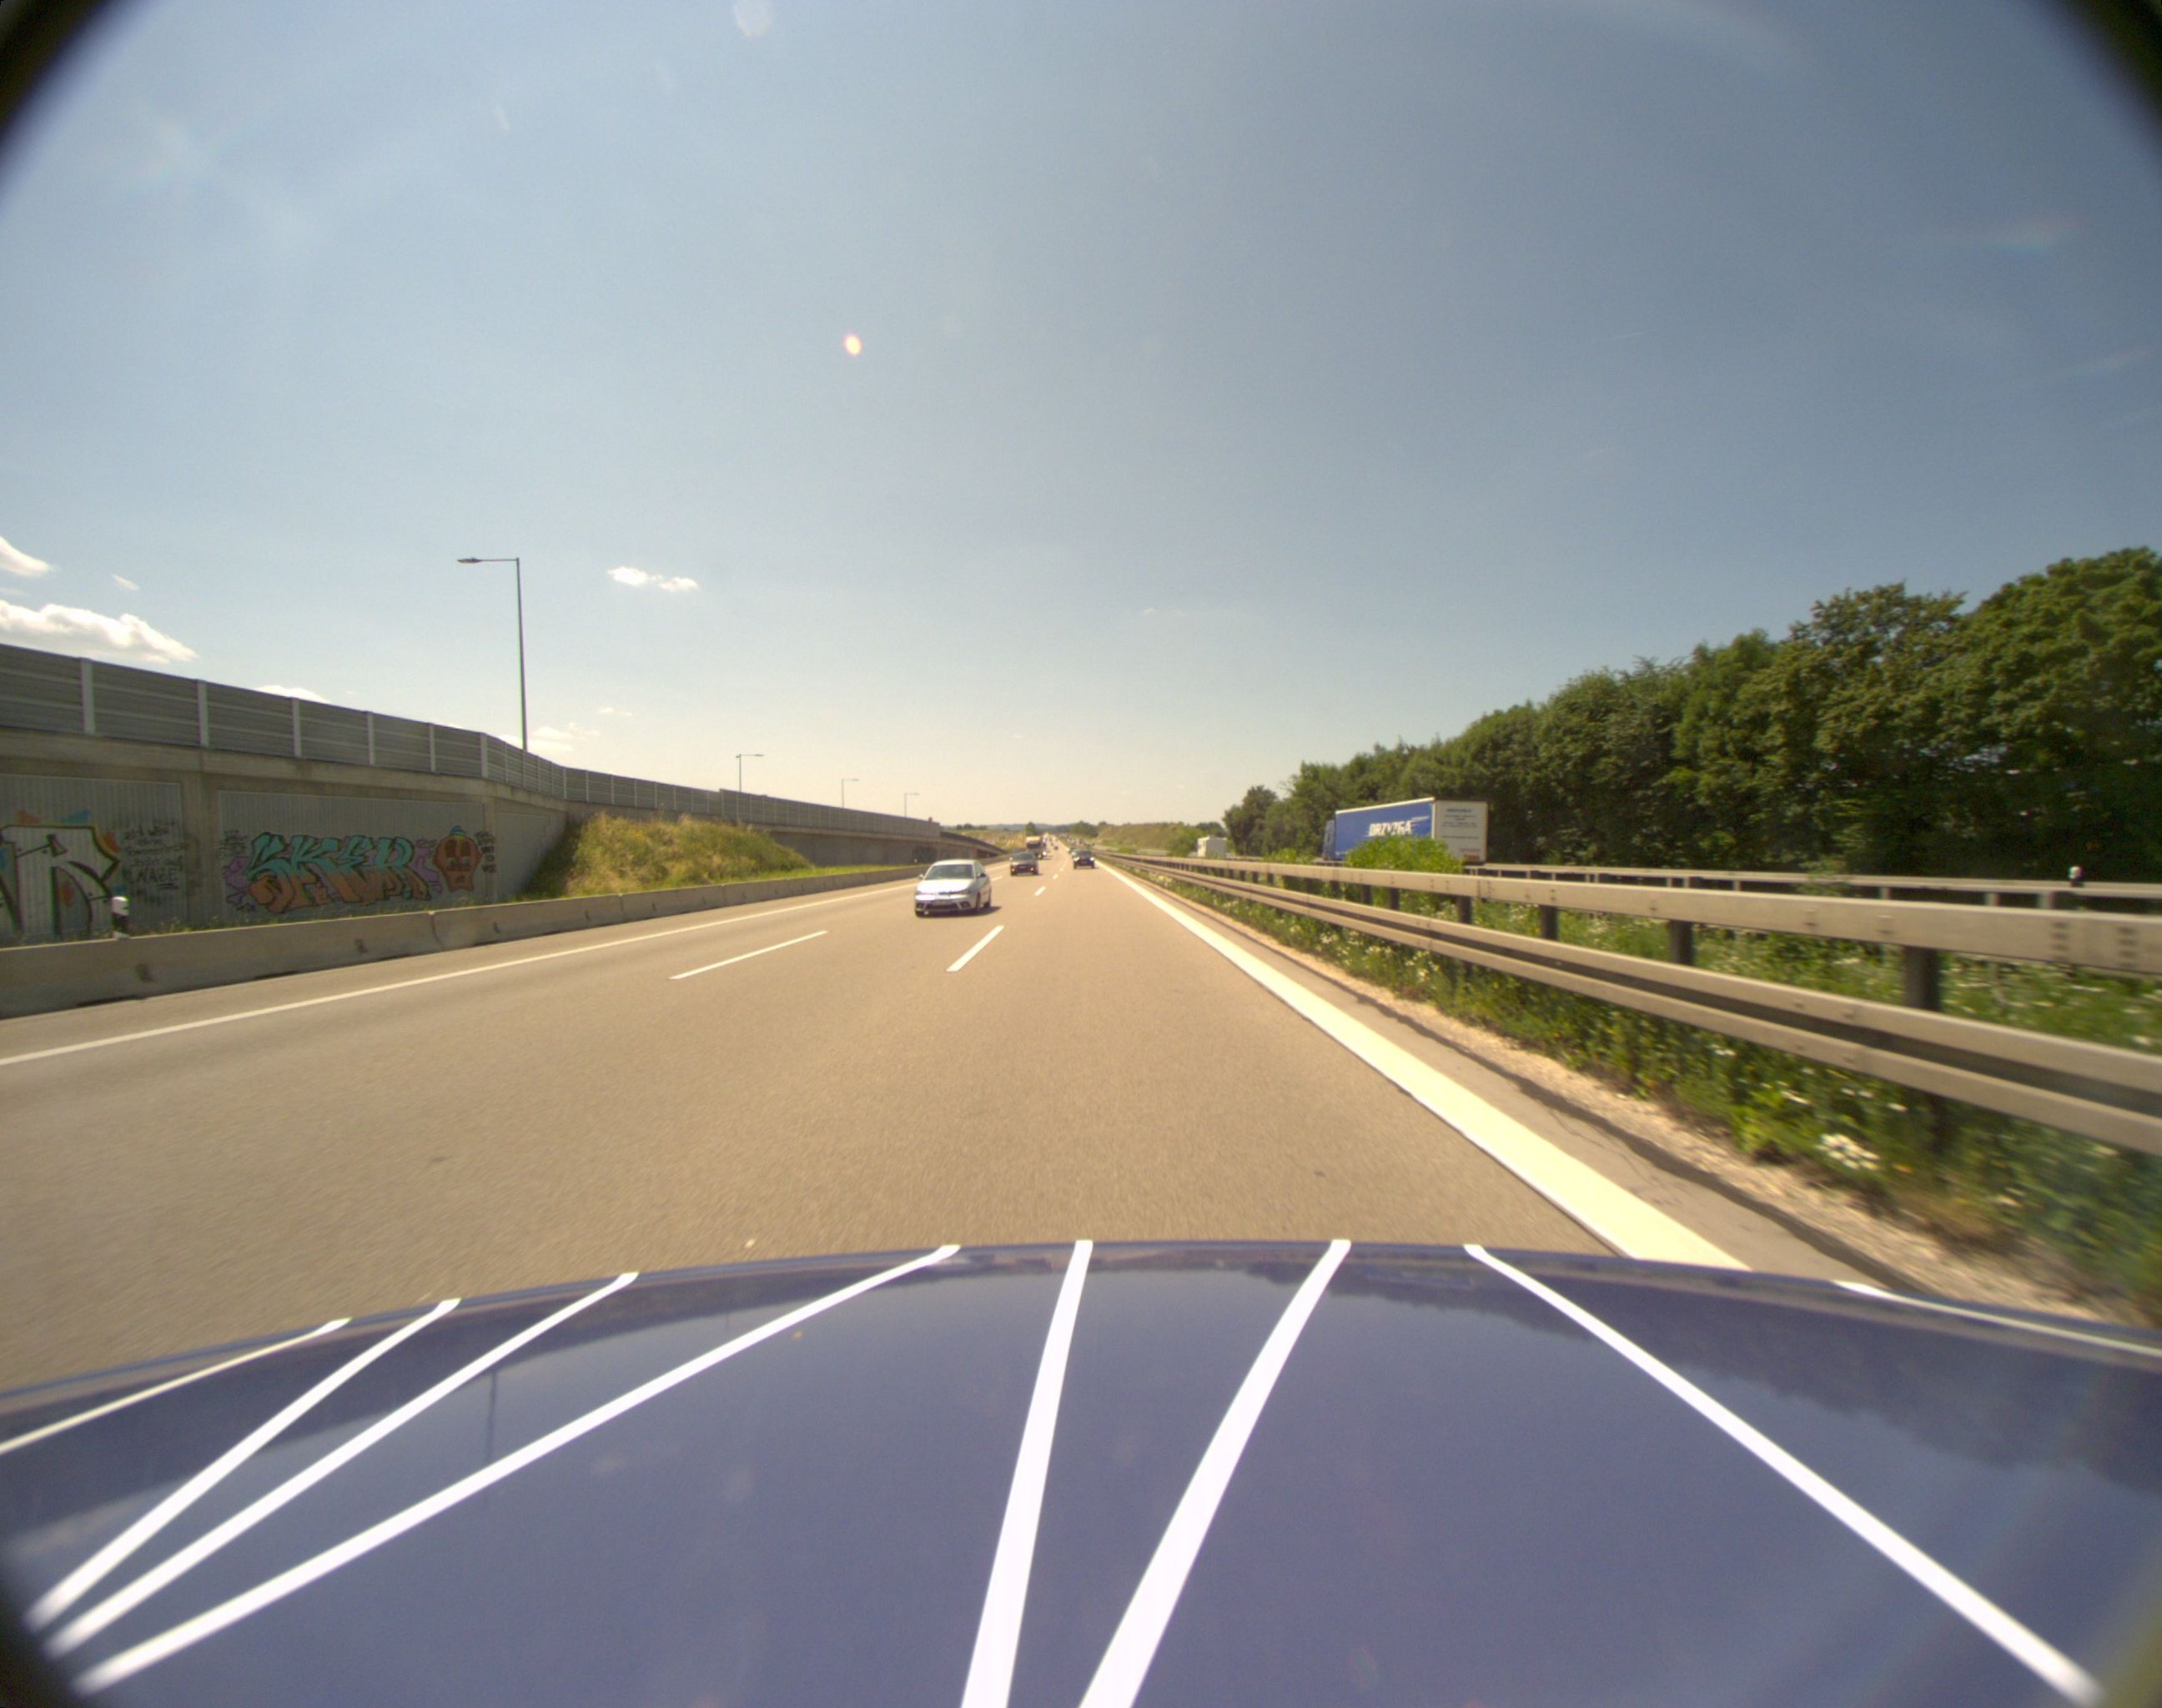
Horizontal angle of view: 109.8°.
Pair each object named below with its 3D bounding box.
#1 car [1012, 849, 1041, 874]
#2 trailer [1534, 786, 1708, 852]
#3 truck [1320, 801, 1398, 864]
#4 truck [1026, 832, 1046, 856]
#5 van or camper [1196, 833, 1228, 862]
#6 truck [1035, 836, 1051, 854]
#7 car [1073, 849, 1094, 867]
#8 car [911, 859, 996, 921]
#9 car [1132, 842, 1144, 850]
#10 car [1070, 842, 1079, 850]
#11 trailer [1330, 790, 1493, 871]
[{"bbox_3d":[-3.815,0.508,53.890,1.751,1.559,3.999,-2,1,0],"label":"car"},{"bbox_3d":[34.703,-2.121,49.884,1.998,3.675,13.181,-2,1,0],"label":"trailer"},{"bbox_3d":[17.867,-1.337,49.202,2.855,3.724,5.692,-2,1,0],"label":"truck"},{"bbox_3d":[-8.016,-1.757,136.116,3.368,4.038,11.732,-2,1,-3],"label":"truck"},{"bbox_3d":[14.064,-0.737,82.046,2.276,2.952,6.952,1,1,1],"label":"van or camper"},{"bbox_3d":[-8.674,-1.992,172.116,3.368,3.976,11.733,-1,1,-3],"label":"truck"},{"bbox_3d":[0.193,0.322,67.080,1.751,1.439,3.999,-1,1,0],"label":"car"},{"bbox_3d":[-3.398,0.910,20.957,1.634,1.381,3.999,-2,1,0],"label":"car"},{"bbox_3d":[10.176,-1.486,136.236,1.804,1.303,3.999,-2,1,0],"label":"car"},{"bbox_3d":[-1.662,-2.235,200.041,1.998,2.002,3.999,-2,1,1],"label":"car"},{"bbox_3d":[17.885,-1.219,42.883,2.849,3.713,14.527,-2,1,0],"label":"trailer"}]
